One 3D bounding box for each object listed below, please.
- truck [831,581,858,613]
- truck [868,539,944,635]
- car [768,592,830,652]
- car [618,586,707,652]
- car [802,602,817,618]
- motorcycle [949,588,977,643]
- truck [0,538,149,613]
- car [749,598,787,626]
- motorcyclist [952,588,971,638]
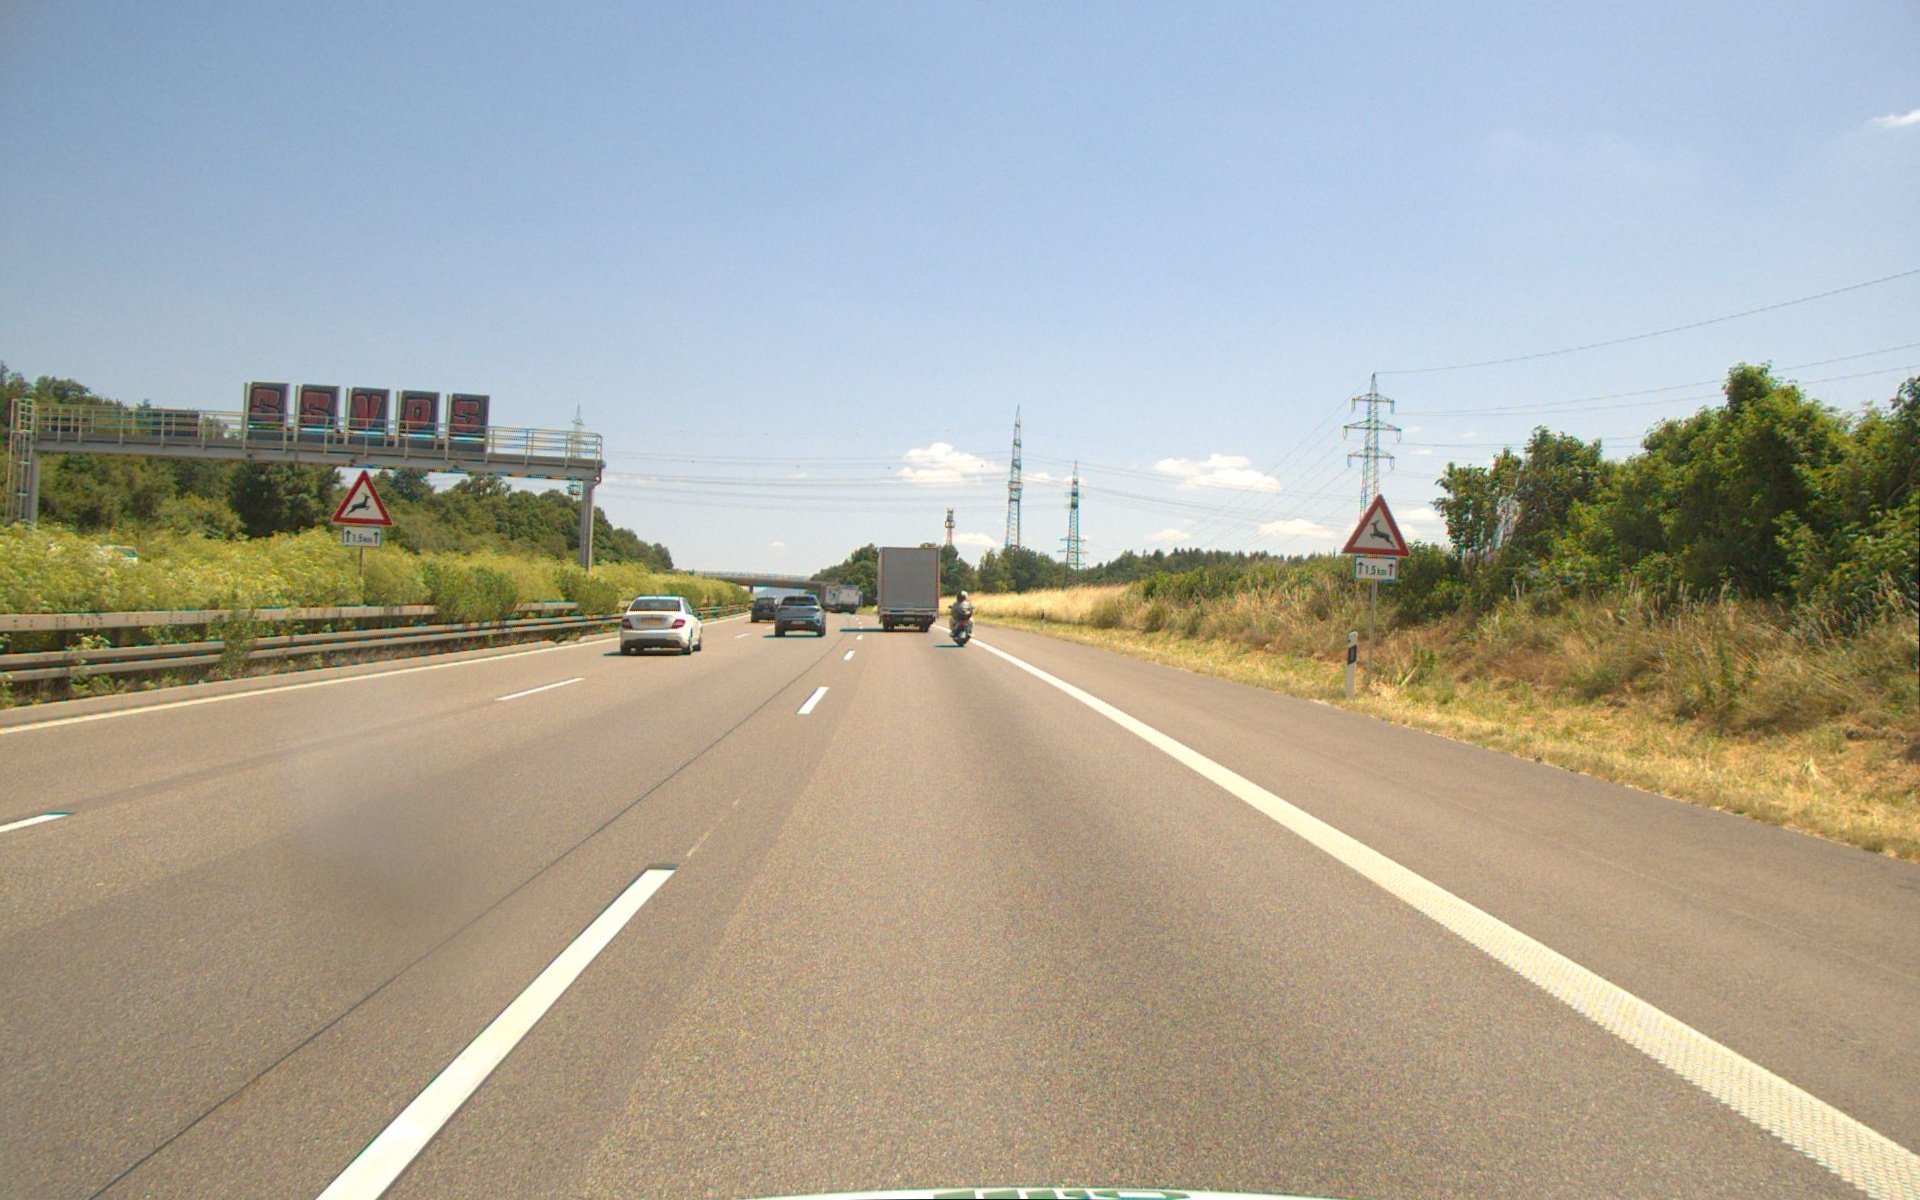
[{"bbox_3d":[-14.916,-0.396,213.466,3.416,3.981,7.282,0,0,-5],"label":"truck"},{"bbox_3d":[-2.437,-0.552,73.682,3.156,3.993,9.056,0,0,-2],"label":"truck"},{"bbox_3d":[-5.851,0.765,60.441,1.953,2.049,3.999,0,1,-2],"label":"car"},{"bbox_3d":[-7.447,0.445,41.714,1.784,1.567,3.911,0,1,-4],"label":"car"},{"bbox_3d":[-19.365,1.325,212.693,1.865,1.959,3.995,0,1,-6],"label":"car"},{"bbox_3d":[0.083,0.454,50.332,0.793,1.635,1.781,0,0,-2],"label":"motorcycle"},{"bbox_3d":[-26.417,-0.717,48.829,1.953,2.049,6.396,0,1,-2],"label":"truck"},{"bbox_3d":[-10.726,0.662,92.586,1.721,1.454,3.999,0,1,-1],"label":"car"},{"bbox_3d":[0.047,0.381,50.244,0.560,1.505,0.700,0,1,-3],"label":"motorcyclist"}]
